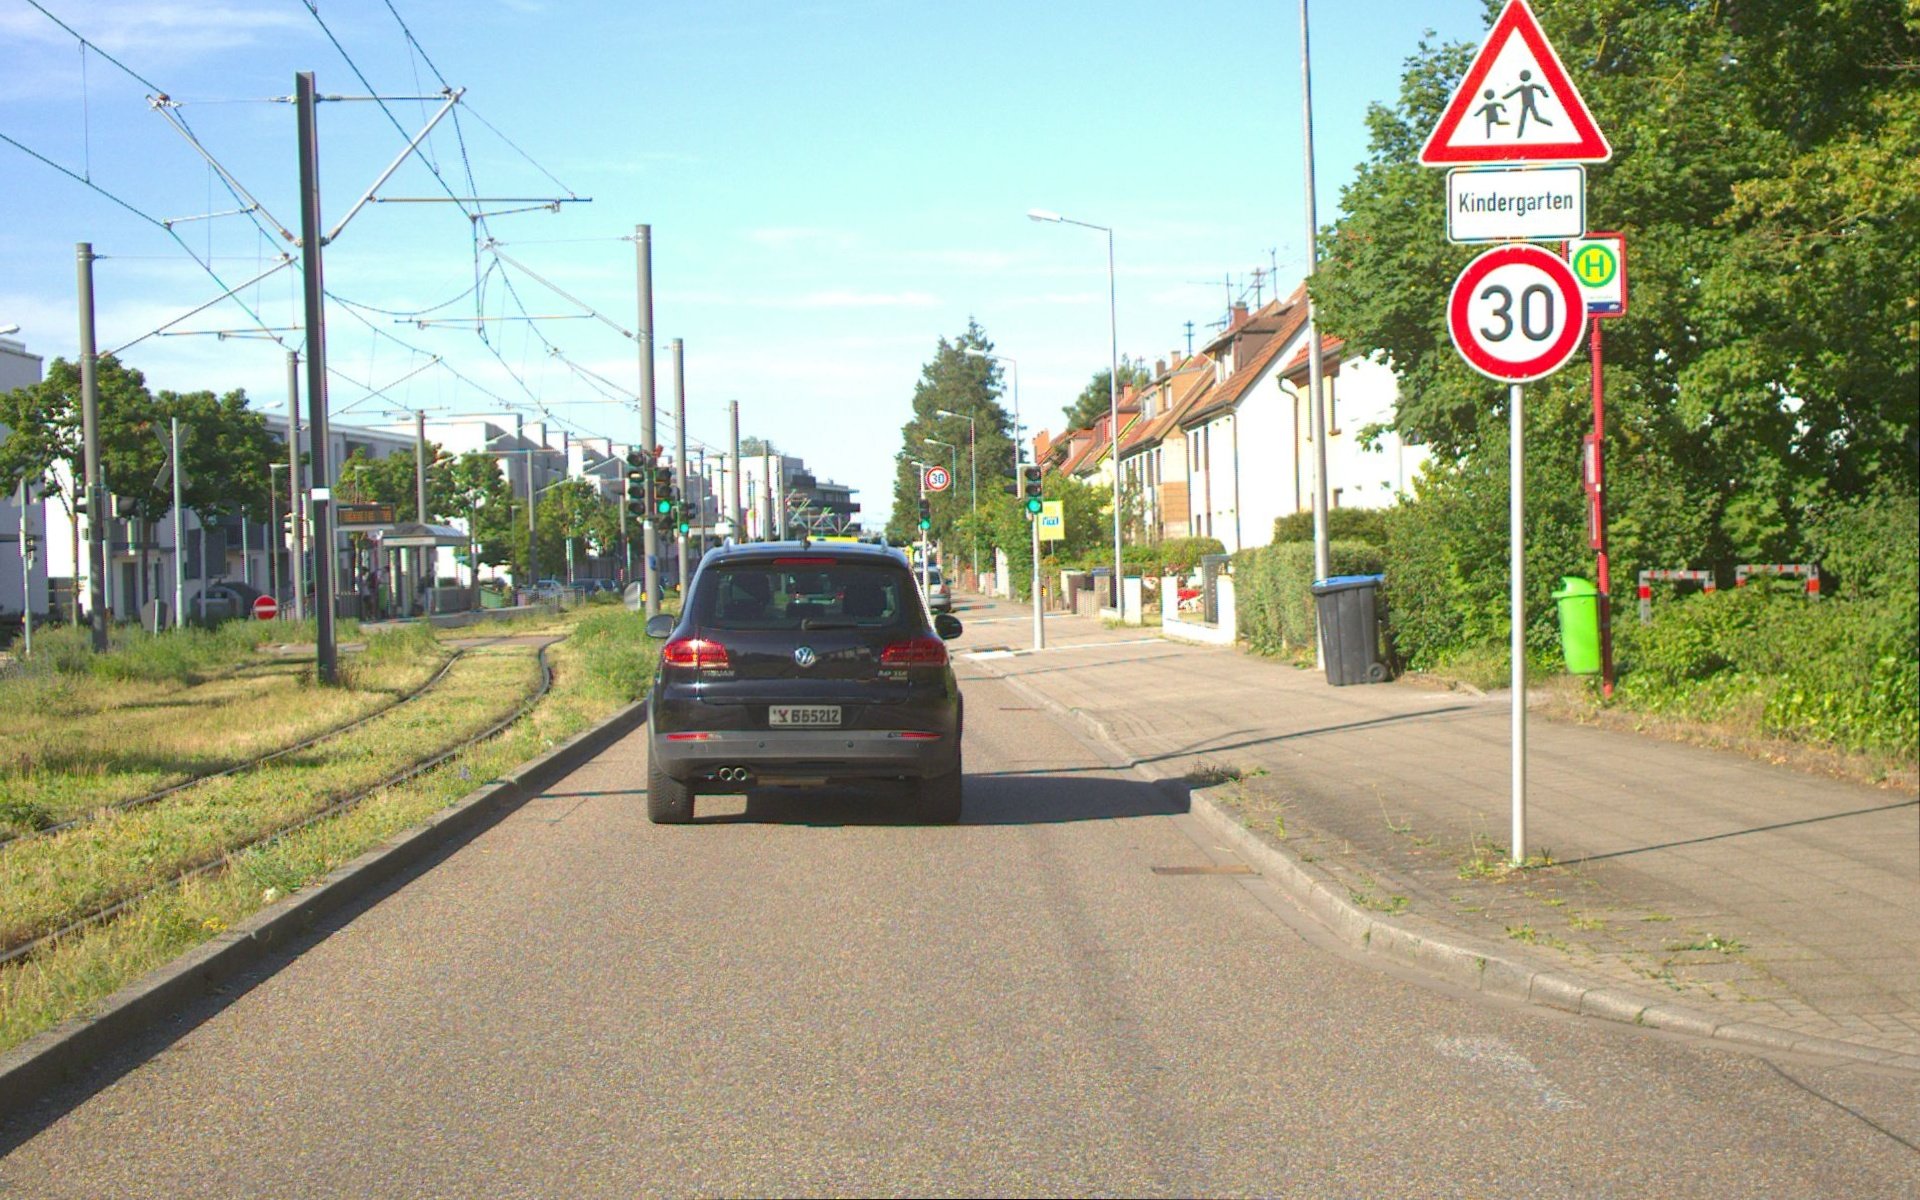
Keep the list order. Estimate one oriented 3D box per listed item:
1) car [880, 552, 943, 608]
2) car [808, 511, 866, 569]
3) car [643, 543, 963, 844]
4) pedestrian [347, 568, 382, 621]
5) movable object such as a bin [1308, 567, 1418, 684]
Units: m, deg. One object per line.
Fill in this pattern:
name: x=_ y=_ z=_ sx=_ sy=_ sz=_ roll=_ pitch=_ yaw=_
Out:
car: x=-1.546 y=-0.637 z=108.411 sx=1.775 sy=1.664 sz=4.001 roll=-2 pitch=1 yaw=-3
car: x=-5.656 y=-2.754 z=158.412 sx=2.394 sy=2.556 sz=5.530 roll=-2 pitch=1 yaw=0
car: x=-0.986 y=0.496 z=21.192 sx=1.775 sy=1.664 sz=4.001 roll=0 pitch=1 yaw=-3
pedestrian: x=-17.911 y=-0.166 z=103.408 sx=0.881 sy=1.581 sz=0.628 roll=-2 pitch=1 yaw=-19
movable object such as a bin: x=4.056 y=0.249 z=34.675 sx=0.976 sy=1.107 sz=1.170 roll=-2 pitch=1 yaw=2
